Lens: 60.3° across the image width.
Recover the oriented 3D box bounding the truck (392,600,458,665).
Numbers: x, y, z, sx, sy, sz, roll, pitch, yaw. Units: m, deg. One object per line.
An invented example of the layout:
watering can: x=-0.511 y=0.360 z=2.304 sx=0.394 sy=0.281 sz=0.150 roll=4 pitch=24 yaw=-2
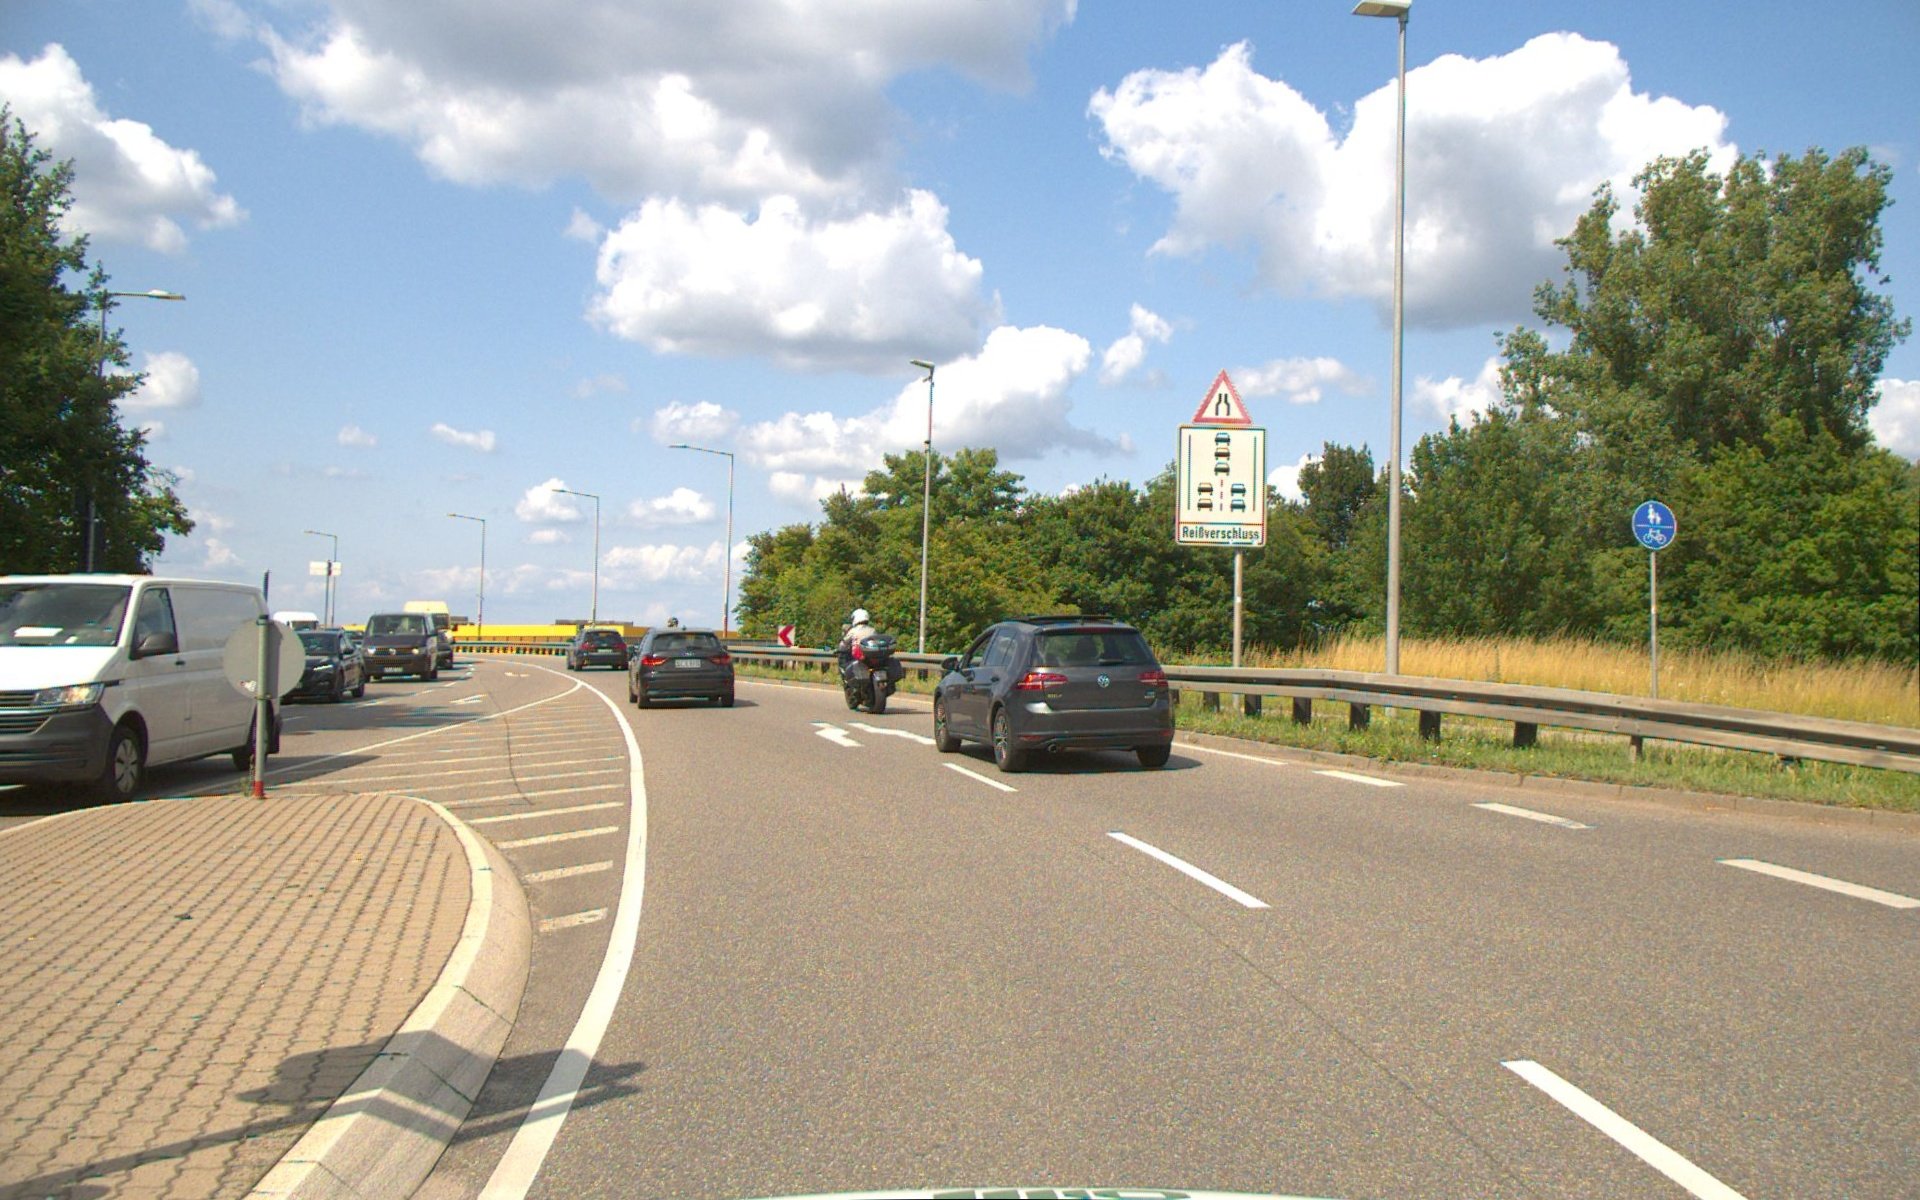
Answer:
truck: x=-23.307 y=1.418 z=71.862 sx=1.968 sy=2.667 sz=6.055 roll=-1 pitch=-1 yaw=-25

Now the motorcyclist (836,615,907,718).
motorcyclist: x=-1.461 y=1.090 z=27.146 sx=0.950 sy=1.649 sz=1.120 roll=1 pitch=-2 yaw=-15

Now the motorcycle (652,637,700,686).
motorcycle: x=-7.521 y=1.606 z=43.736 sx=0.874 sy=1.269 sz=2.385 roll=1 pitch=-2 yaw=-19

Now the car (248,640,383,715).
car: x=-13.604 y=1.595 z=35.139 sx=1.604 sy=1.434 sz=4.331 roll=-1 pitch=-1 yaw=-7

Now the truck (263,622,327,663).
truck: x=-42.519 y=2.723 z=105.700 sx=1.983 sy=2.552 sz=5.856 roll=0 pitch=-1 yaw=-42

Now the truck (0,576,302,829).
truck: x=-7.911 y=0.846 z=15.393 sx=1.923 sy=1.946 sz=5.362 roll=0 pitch=-1 yaw=-6

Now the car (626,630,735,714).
car: x=-5.174 y=1.314 z=30.294 sx=1.654 sy=1.412 sz=3.723 roll=-1 pitch=-2 yaw=-15

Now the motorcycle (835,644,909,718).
motorcycle: x=-1.464 y=1.299 z=27.129 sx=0.776 sy=1.152 sz=2.390 roll=1 pitch=-2 yaw=-14

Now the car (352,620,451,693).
car: x=-16.029 y=1.578 z=47.706 sx=1.958 sy=1.947 sz=5.119 roll=-1 pitch=-1 yaw=-10

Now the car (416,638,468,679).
car: x=-19.244 y=2.151 z=61.497 sx=1.770 sy=1.414 sz=3.986 roll=0 pitch=-1 yaw=-18

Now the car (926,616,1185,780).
car: x=0.867 y=0.963 z=17.288 sx=1.615 sy=1.505 sz=3.856 roll=0 pitch=-2 yaw=-15

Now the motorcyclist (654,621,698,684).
motorcyclist: x=-7.521 y=1.390 z=43.786 sx=0.951 sy=1.624 sz=1.118 roll=1 pitch=-2 yaw=-20

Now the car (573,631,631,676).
car: x=-12.582 y=1.869 z=57.954 sx=1.617 sy=1.505 sz=3.852 roll=0 pitch=-2 yaw=-18
